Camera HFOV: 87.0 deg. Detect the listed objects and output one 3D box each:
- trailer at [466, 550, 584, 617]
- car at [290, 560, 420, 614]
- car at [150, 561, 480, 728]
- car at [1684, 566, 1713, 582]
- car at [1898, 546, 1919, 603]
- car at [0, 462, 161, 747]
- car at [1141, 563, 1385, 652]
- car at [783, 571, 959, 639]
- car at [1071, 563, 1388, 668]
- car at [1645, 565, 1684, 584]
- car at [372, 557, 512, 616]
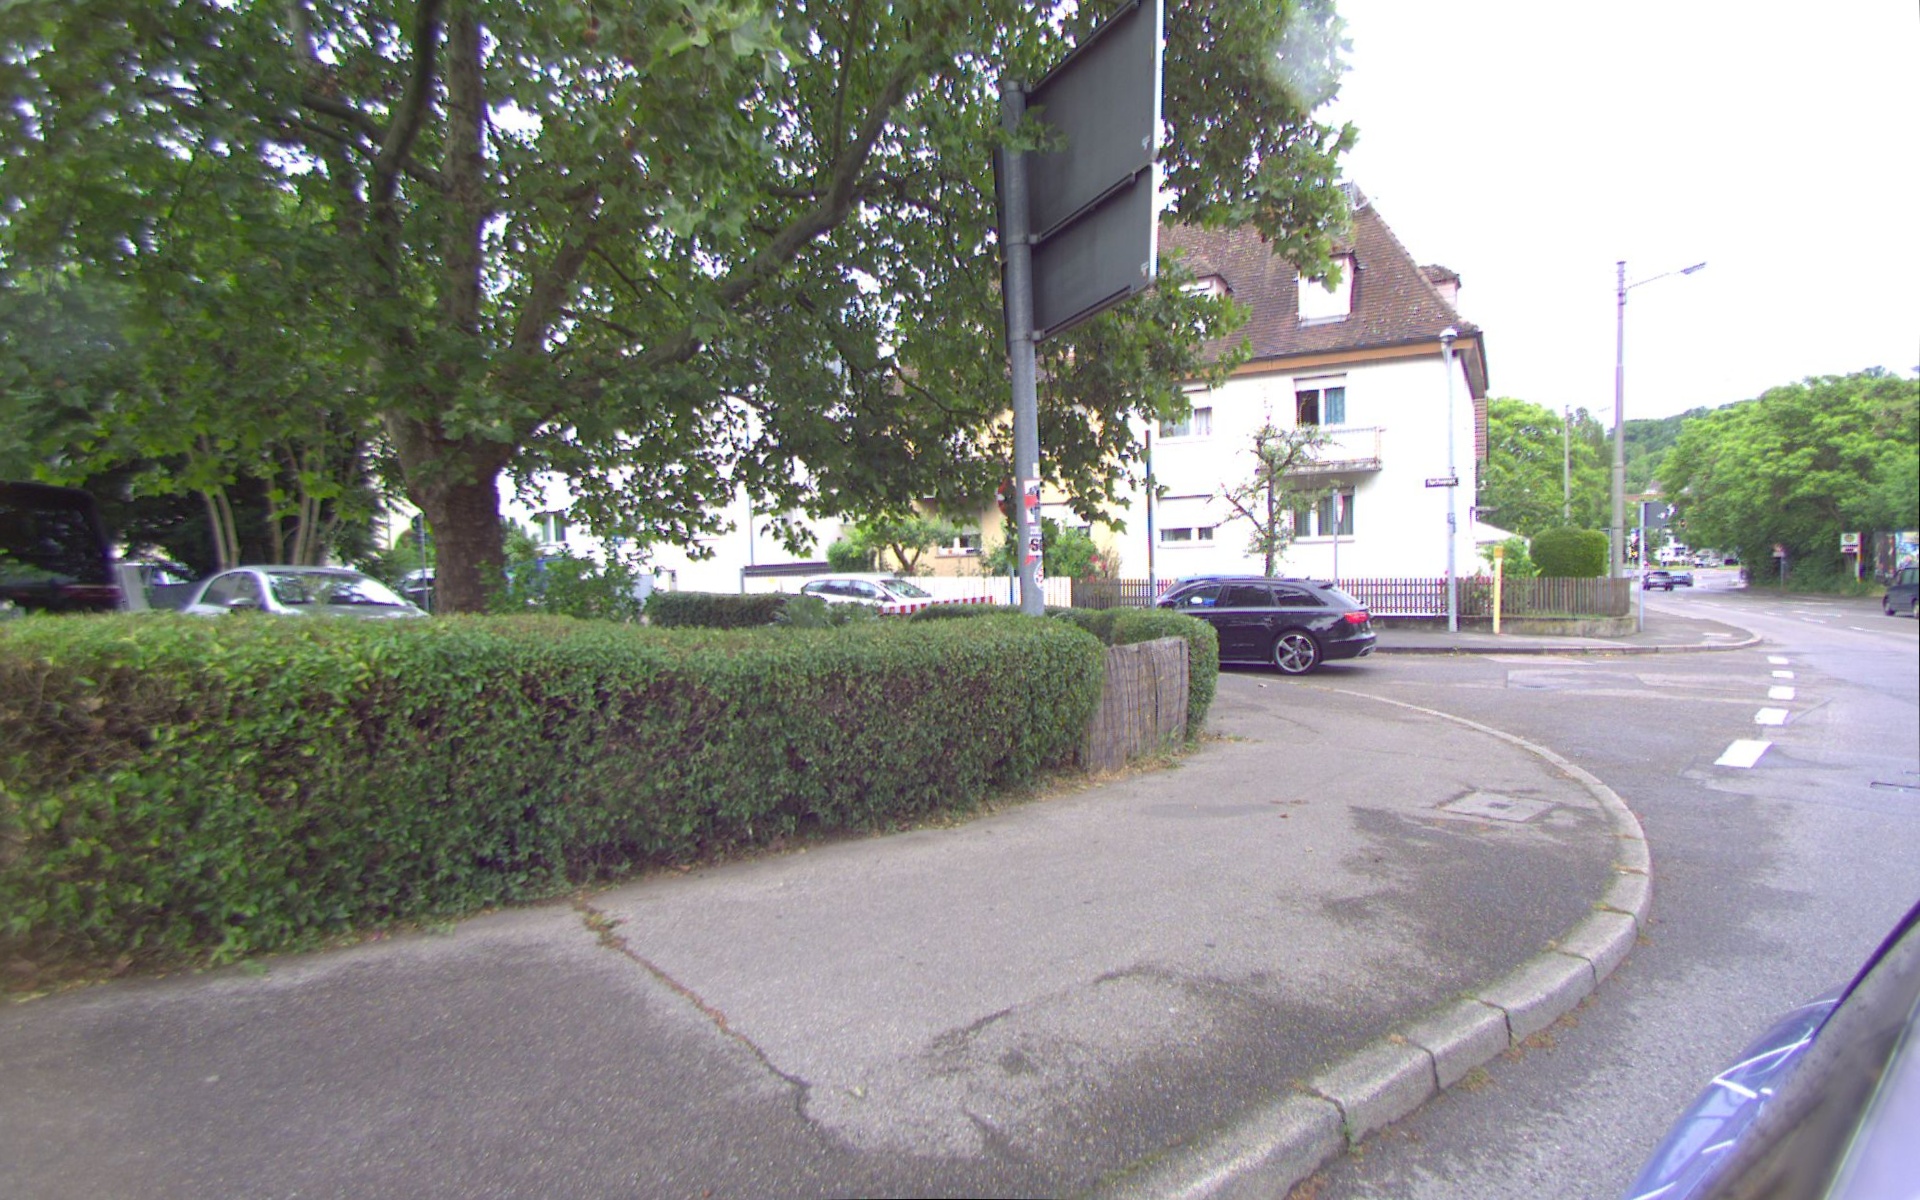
[{"bbox_3d":[-13.917,-0.542,32.370,3.456,2.038,1.657,1,1,26],"label":"trailer"},{"bbox_3d":[-22.068,-0.498,36.893,4.535,1.862,1.982,1,2,28],"label":"car"},{"bbox_3d":[-7.439,0.368,11.577,3.974,1.599,1.800,1,2,35],"label":"car"},{"bbox_3d":[69.898,-2.459,95.864,1.986,1.461,4.717,1,1,34],"label":"car"},{"bbox_3d":[33.976,-0.879,34.583,1.949,1.955,4.630,1,2,32],"label":"car"},{"bbox_3d":[-8.529,0.005,7.981,4.376,1.956,1.980,1,2,29],"label":"car"},{"bbox_3d":[5.695,0.068,19.148,4.095,1.498,1.865,2,2,32],"label":"car"},{"bbox_3d":[-2.074,0.070,23.398,3.752,1.471,1.754,1,1,30],"label":"car"},{"bbox_3d":[4.379,0.161,16.544,4.768,1.498,1.870,1,2,25],"label":"car"},{"bbox_3d":[56.130,-2.024,80.708,1.882,1.479,3.965,1,2,26],"label":"car"},{"bbox_3d":[-17.499,-0.485,34.177,4.535,1.862,1.982,1,2,28],"label":"car"}]
